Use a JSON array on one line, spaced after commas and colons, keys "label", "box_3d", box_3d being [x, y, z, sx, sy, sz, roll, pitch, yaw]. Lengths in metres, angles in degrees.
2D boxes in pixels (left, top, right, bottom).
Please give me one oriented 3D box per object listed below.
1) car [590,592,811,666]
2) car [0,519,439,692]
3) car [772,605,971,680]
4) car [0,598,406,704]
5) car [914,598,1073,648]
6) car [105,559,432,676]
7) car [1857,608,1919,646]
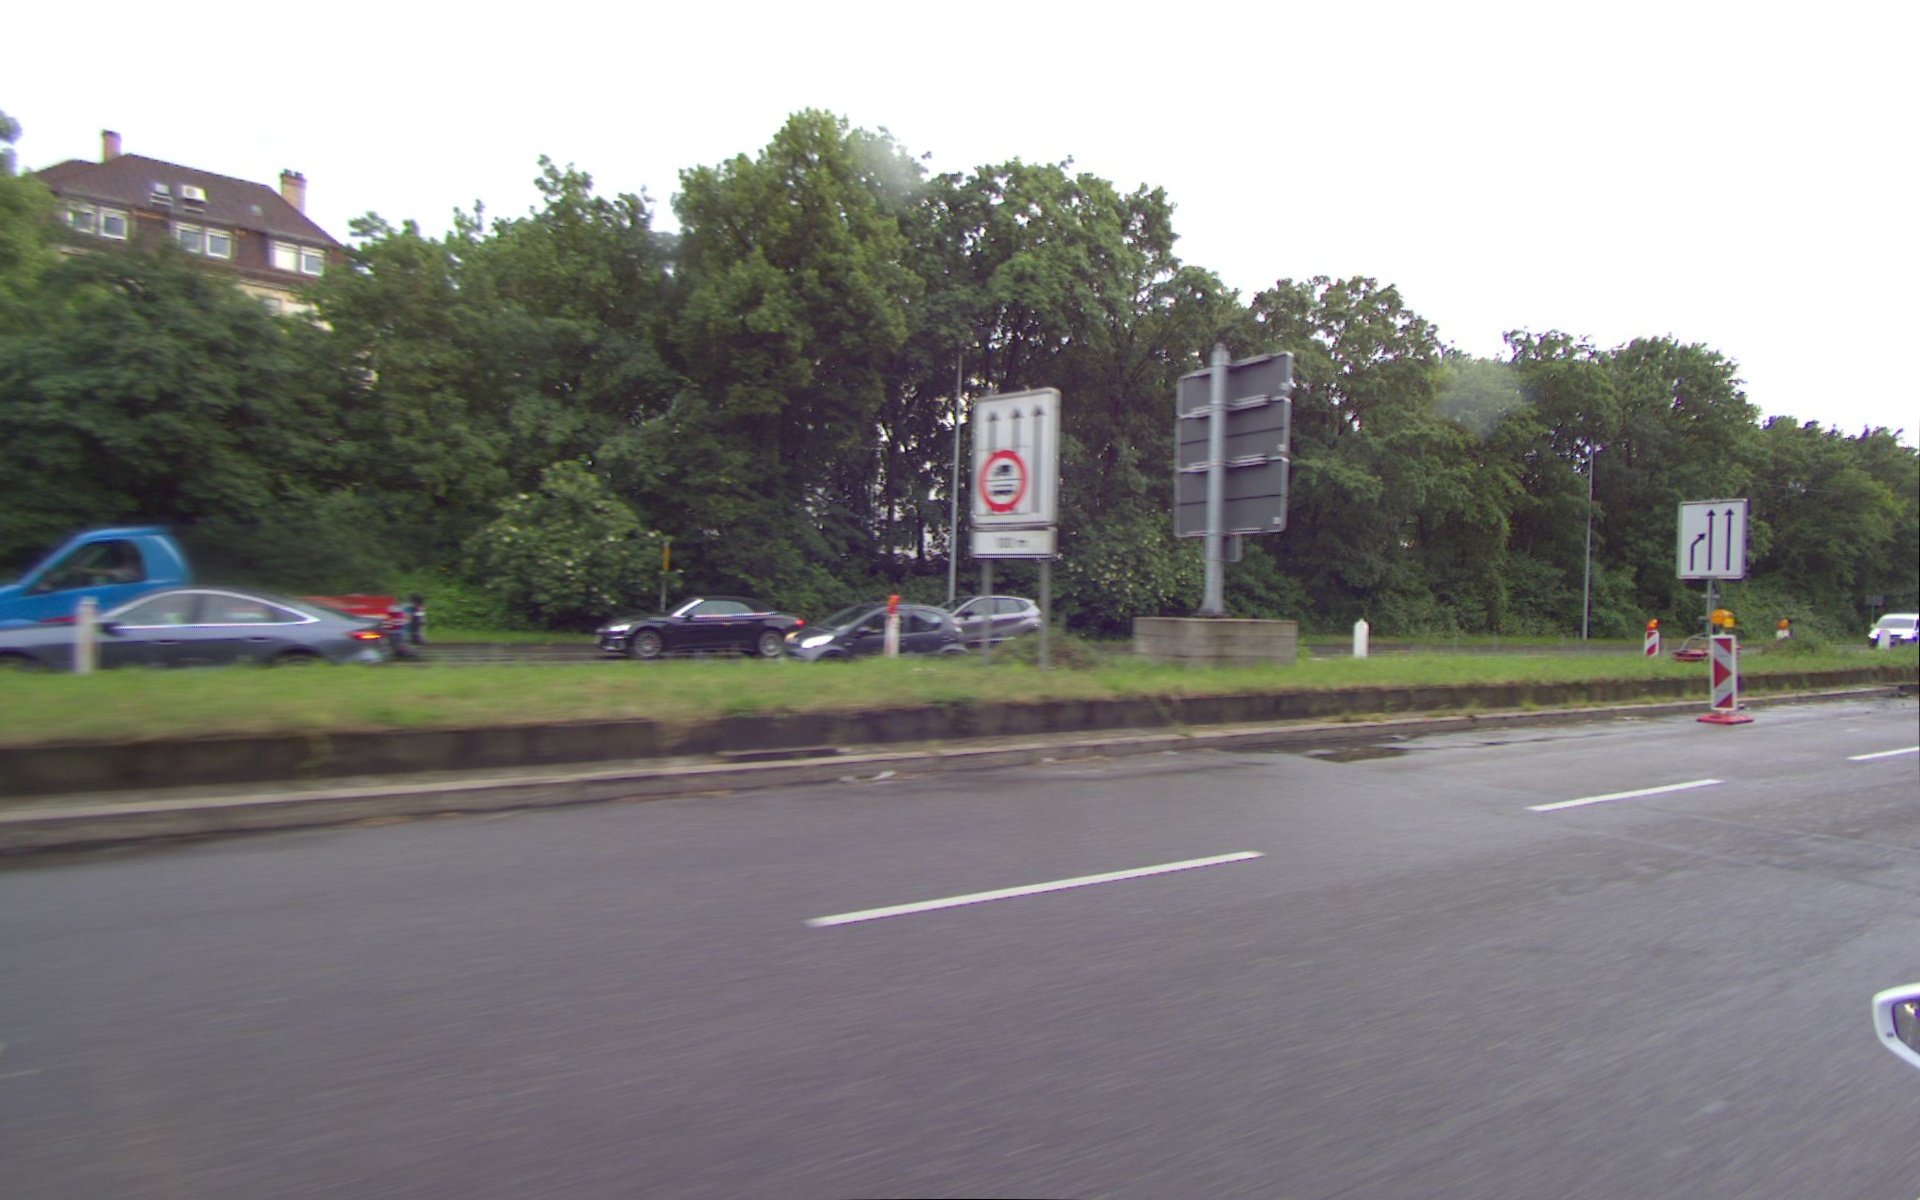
[{"label": "car", "box_3d": [-5.845, 0.627, 22.727, 4.576, 1.544, 1.786, 1, 1, -28]}, {"label": "car", "box_3d": [-11.854, 0.050, 16.145, 6.166, 2.423, 2.186, 0, 1, -29]}, {"label": "car", "box_3d": [-1.571, 0.723, 17.981, 3.258, 1.216, 1.424, 1, 1, -28]}, {"label": "car", "box_3d": [-9.984, 0.624, 13.267, 4.586, 1.216, 1.543, 1, 1, -27]}, {"label": "car", "box_3d": [0.893, 0.586, 26.121, 3.880, 1.216, 1.543, 1, 1, -28]}, {"label": "car", "box_3d": [-12.920, 0.262, 19.277, 4.928, 2.001, 2.026, 0, 1, -28]}, {"label": "car", "box_3d": [48.131, 1.354, 51.548, 4.780, 1.805, 1.903, 0, 1, -32]}]
